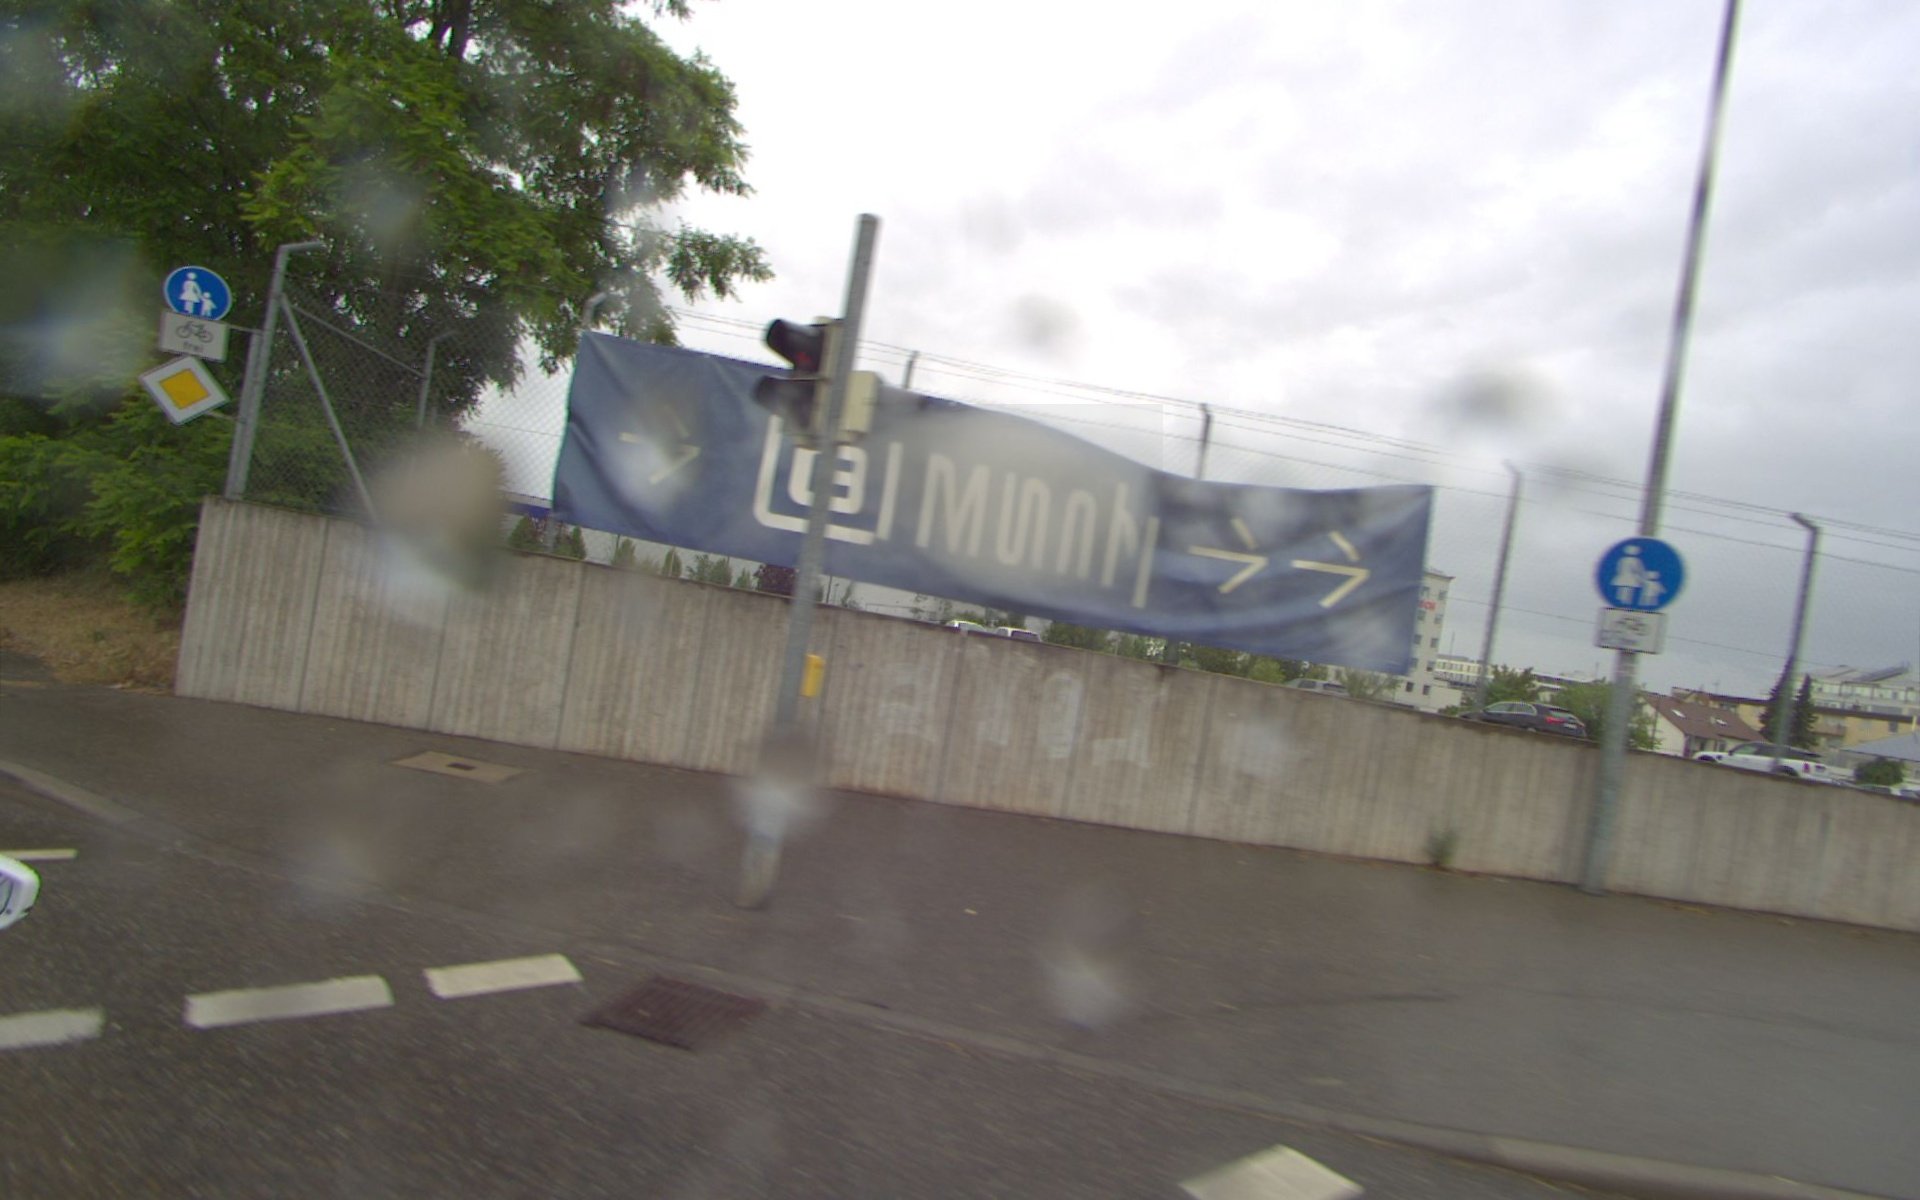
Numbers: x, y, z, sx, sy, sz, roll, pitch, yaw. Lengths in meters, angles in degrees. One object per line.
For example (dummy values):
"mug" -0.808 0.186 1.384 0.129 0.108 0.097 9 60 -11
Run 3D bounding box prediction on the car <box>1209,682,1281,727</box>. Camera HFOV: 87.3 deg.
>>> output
"car" 17.146 6.272 60.783 1.974 2.037 3.982 9 -2 -21

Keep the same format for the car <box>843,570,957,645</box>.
"car" -1.616 0.157 25.786 1.726 1.571 3.513 9 -2 -22

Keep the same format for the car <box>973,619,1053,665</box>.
"car" 2.242 1.794 43.718 1.838 1.543 4.086 9 -2 -20

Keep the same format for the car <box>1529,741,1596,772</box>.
"car" 45.429 11.804 75.976 1.822 1.558 3.984 9 -2 -19

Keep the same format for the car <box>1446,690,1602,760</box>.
"car" 18.510 4.072 33.229 1.690 1.577 4.166 9 -2 -24

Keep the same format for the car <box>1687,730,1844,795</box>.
"car" 30.008 6.041 37.611 1.690 1.577 4.166 9 -2 -24

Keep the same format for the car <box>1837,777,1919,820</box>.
"car" 51.767 11.098 55.928 1.971 1.636 3.988 9 -2 -15

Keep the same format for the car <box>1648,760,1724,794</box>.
"car" 51.729 12.587 71.770 1.822 1.558 3.984 9 -2 -19

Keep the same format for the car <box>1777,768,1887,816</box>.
"car" 47.374 10.406 54.753 1.971 1.636 3.988 9 -2 -15

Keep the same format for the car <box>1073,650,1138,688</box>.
"car" 8.210 3.874 57.105 1.903 1.607 3.773 9 -2 -20

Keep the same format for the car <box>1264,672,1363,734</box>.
"car" 15.139 4.392 43.306 1.726 2.037 3.805 9 -2 -22

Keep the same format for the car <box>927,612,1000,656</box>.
"car" 0.081 1.383 42.476 1.797 1.450 4.090 9 -2 -17
